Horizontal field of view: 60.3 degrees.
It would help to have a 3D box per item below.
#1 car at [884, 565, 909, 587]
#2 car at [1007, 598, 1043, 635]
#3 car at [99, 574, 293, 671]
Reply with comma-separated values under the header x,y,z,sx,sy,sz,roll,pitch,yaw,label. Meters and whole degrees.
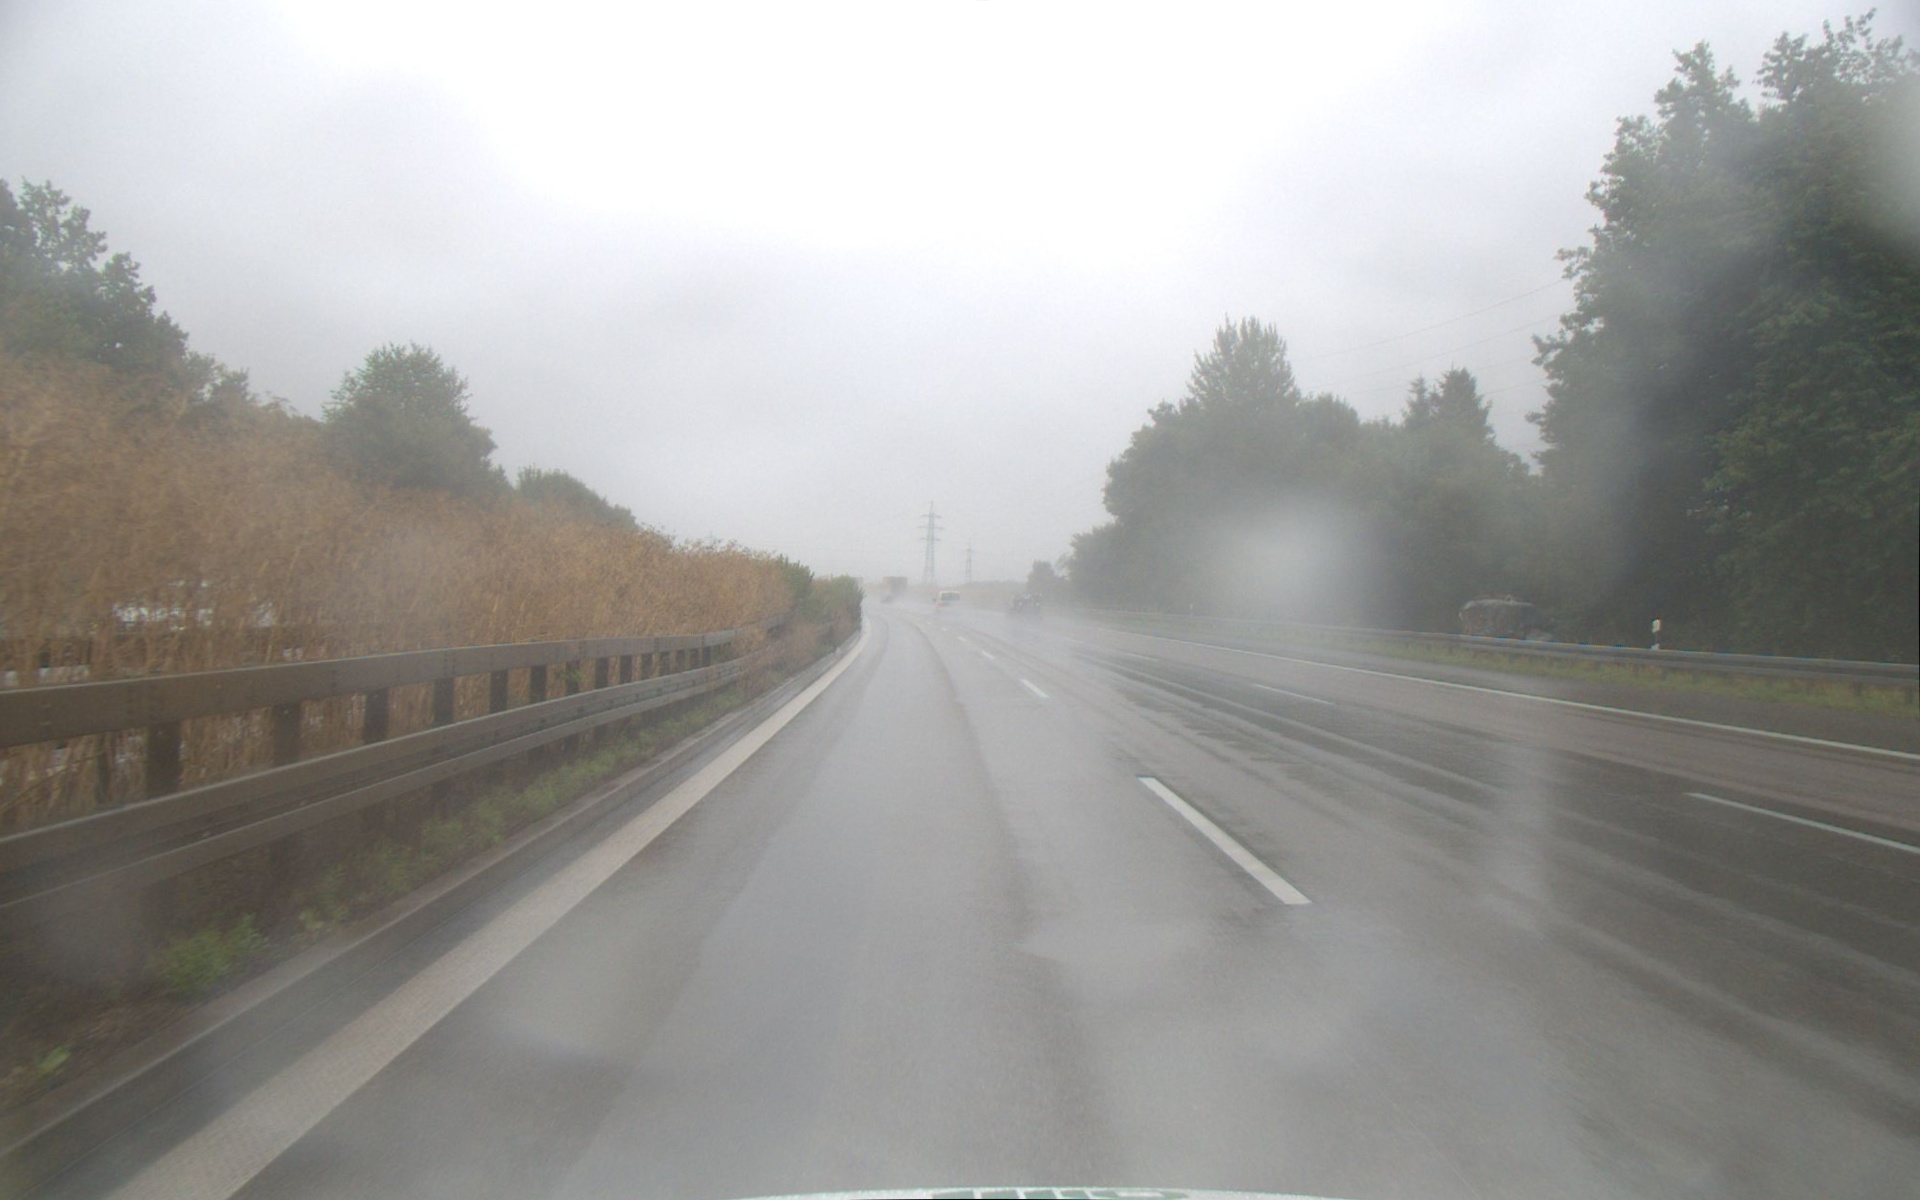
x,y,z,sx,sy,sz,roll,pitch,yaw,label
-9.613,-3.583,250.146,3.139,3.248,7.246,1,0,-7,car
4.016,0.996,103.371,1.771,2.196,3.996,1,0,-4,car
-12.626,0.349,27.595,1.395,1.482,4.127,1,0,-1,car
